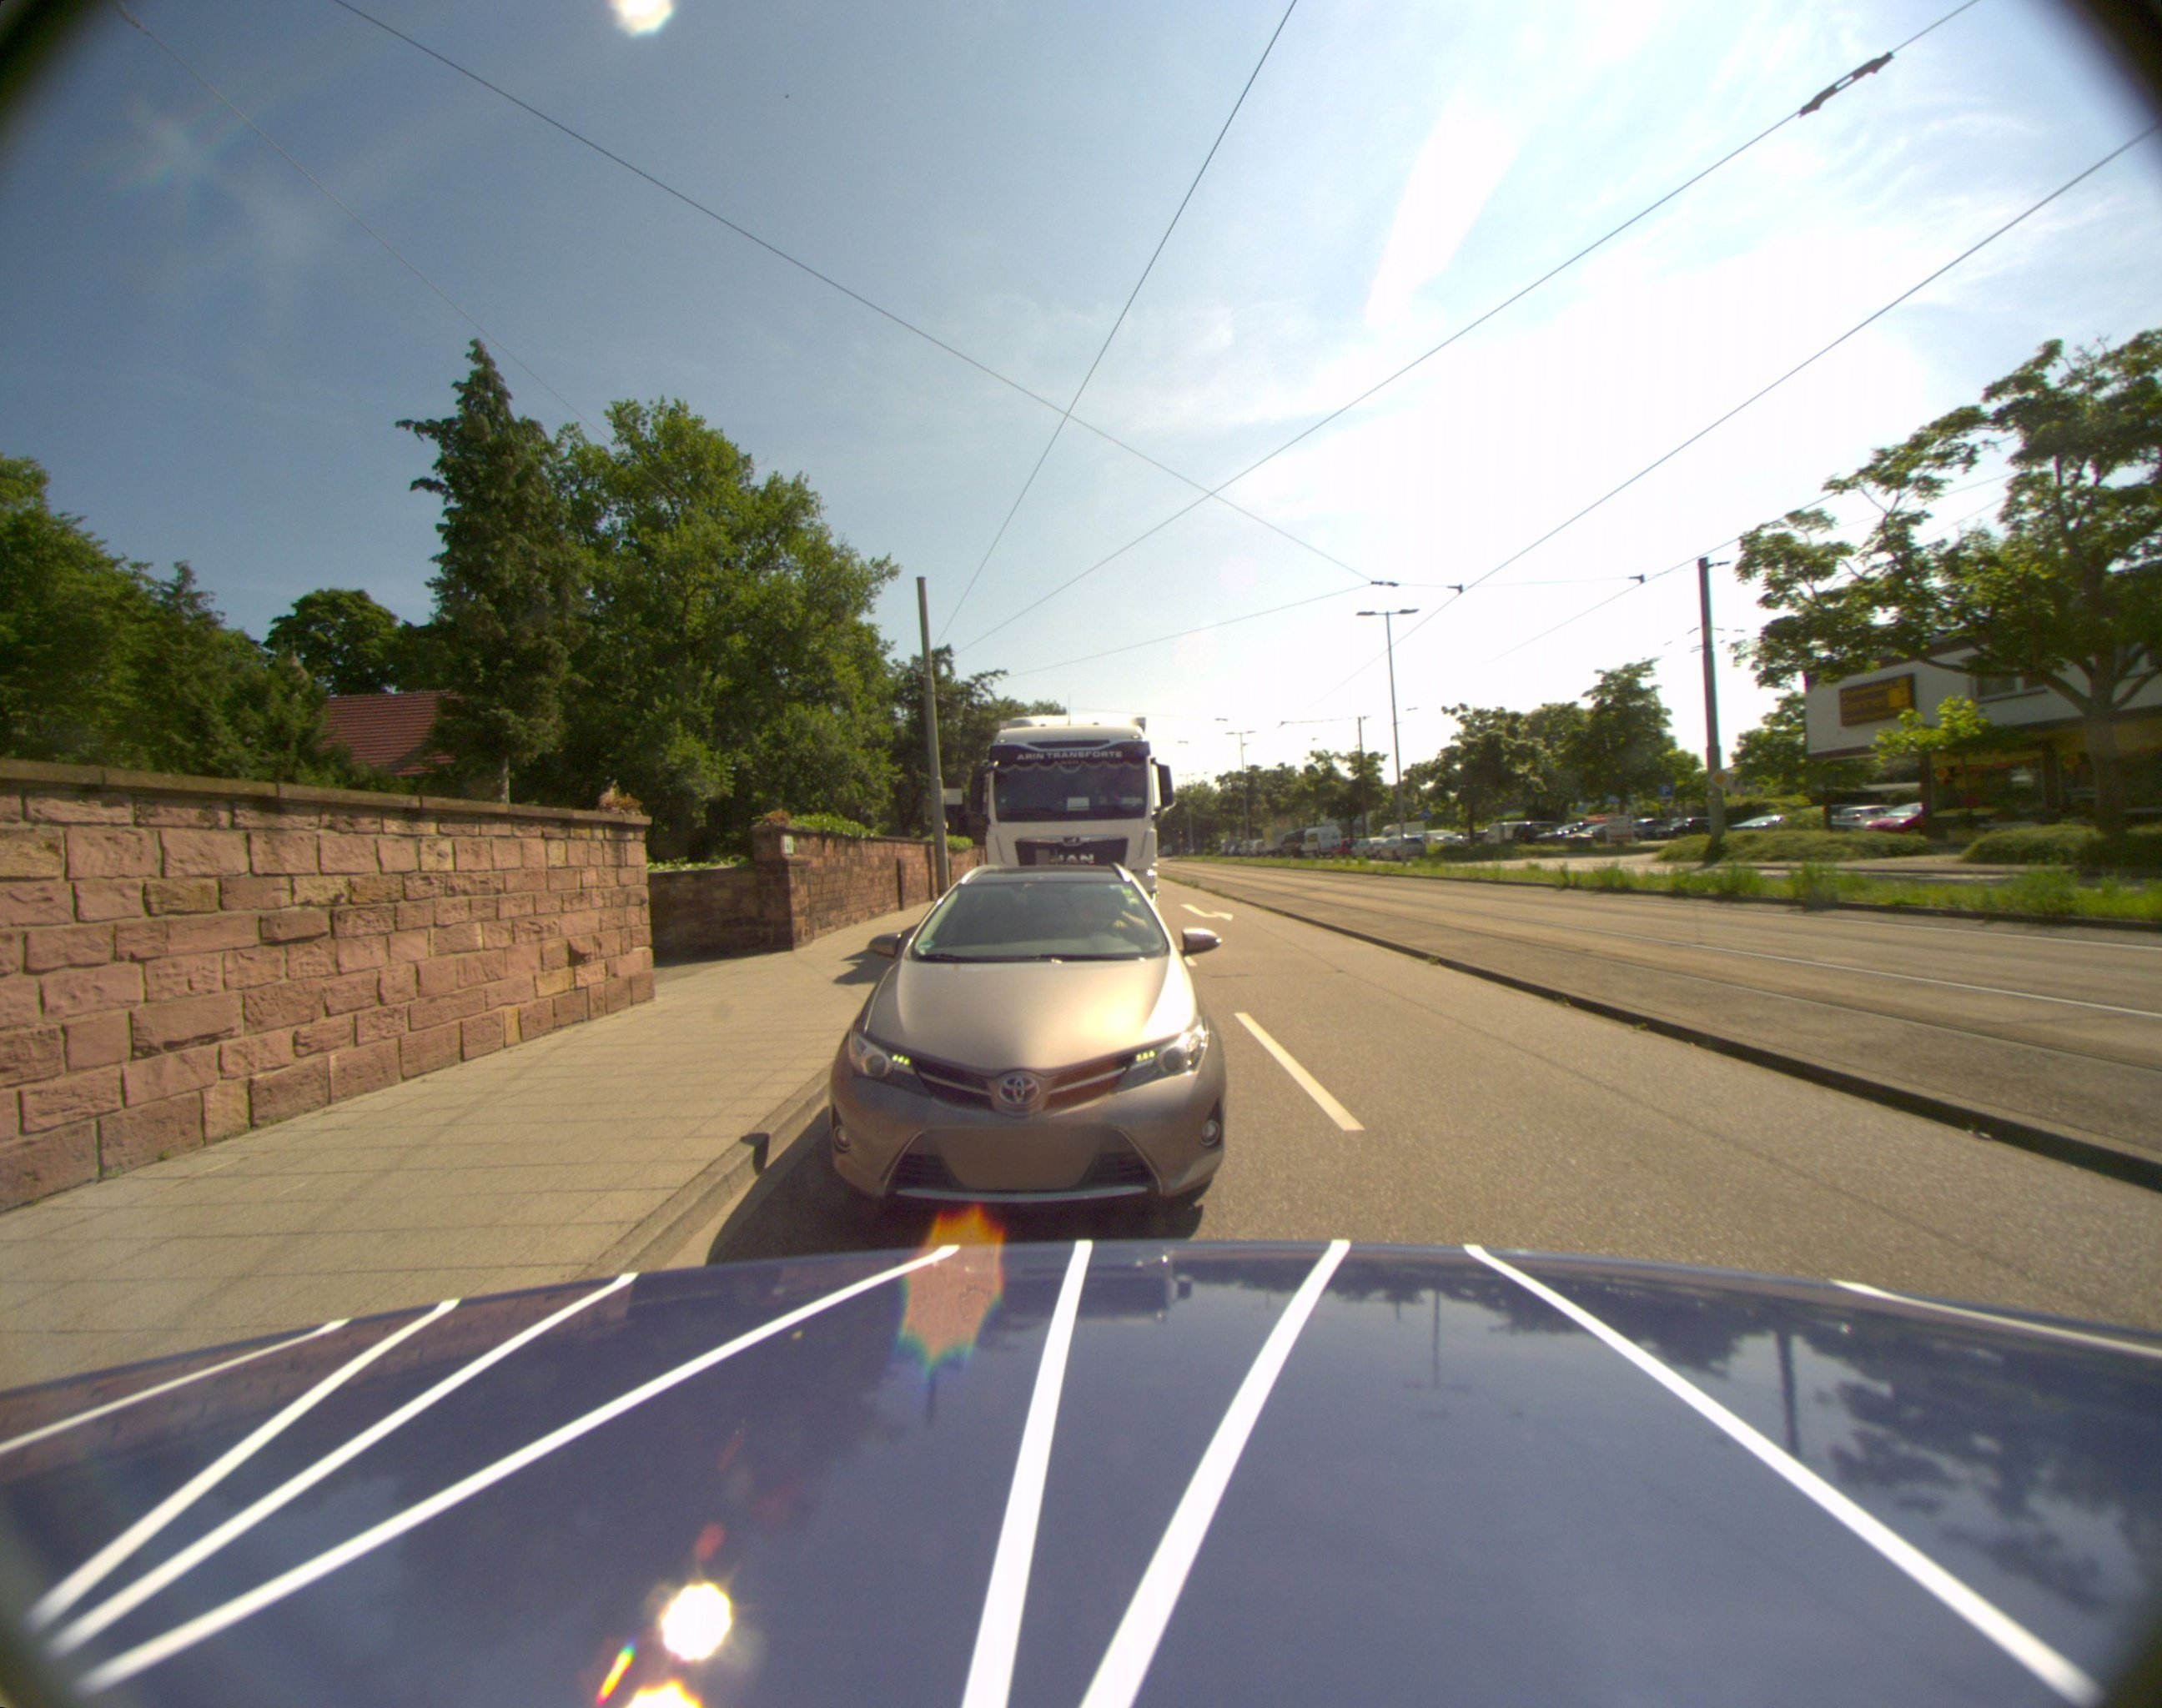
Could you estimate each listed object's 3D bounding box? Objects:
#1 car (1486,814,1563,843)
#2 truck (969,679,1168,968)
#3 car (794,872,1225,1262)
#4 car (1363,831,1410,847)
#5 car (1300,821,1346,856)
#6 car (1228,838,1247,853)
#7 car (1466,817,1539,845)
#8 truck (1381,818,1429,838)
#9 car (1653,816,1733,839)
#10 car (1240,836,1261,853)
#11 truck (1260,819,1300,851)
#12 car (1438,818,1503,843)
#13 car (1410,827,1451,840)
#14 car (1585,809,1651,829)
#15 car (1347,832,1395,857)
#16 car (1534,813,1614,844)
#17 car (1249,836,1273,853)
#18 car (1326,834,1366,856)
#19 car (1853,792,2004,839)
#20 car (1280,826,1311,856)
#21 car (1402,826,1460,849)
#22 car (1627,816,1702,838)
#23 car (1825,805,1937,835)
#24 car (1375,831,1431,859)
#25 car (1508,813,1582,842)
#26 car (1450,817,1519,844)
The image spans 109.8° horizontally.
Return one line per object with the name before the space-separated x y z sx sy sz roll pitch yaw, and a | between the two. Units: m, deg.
car | 30.692 -1.767 52.666 4.117 1.728 1.990 -3 1 -2
truck | -0.074 -0.468 15.099 2.628 3.906 9.285 -2 1 1
car | -0.261 0.891 4.993 1.654 1.374 4.000 -2 0 1
car | 32.314 -1.586 80.395 4.253 1.327 1.676 -3 0 1
car | 20.278 -1.249 63.987 2.062 2.638 5.203 -6 0 1
car | 20.620 -1.079 100.070 1.502 1.775 3.687 -6 0 0
car | 30.532 -1.679 55.137 4.117 1.728 1.990 -3 1 -2
truck | 44.838 -3.577 105.165 5.652 2.367 1.990 -3 1 -2
car | 44.064 -1.878 54.767 4.252 1.327 1.676 -3 0 2
car | 20.960 -1.178 94.217 1.502 1.835 4.059 -6 0 0
truck | 20.555 -1.887 78.761 2.508 2.917 5.903 -6 0 2
car | 31.229 -1.873 60.975 4.117 1.728 1.990 -3 1 -2
car | 43.734 -2.614 95.107 4.253 1.327 1.676 -3 0 1
car | 44.118 -2.875 62.480 4.254 1.327 1.676 -3 0 -1
car | 20.444 -0.623 53.655 1.675 1.524 4.256 -6 0 1
car | 30.514 -1.565 47.114 3.810 1.625 1.676 -3 1 2
car | 20.673 -1.044 87.359 1.502 1.793 4.633 -6 0 1
car | 20.471 -0.692 58.752 1.675 1.524 3.793 -6 0 1
car | 35.261 -1.580 31.680 4.252 1.595 1.676 -3 1 2
car | 19.822 -1.182 70.395 1.502 2.609 4.007 -6 0 1
car | 31.167 -1.395 67.878 2.594 1.800 5.741 -3 0 2
car | 44.188 -2.024 57.595 4.252 1.327 1.676 -3 0 2
car | 44.335 -1.888 42.169 4.252 1.327 1.676 -3 0 2
car | 20.339 -0.550 48.164 1.675 1.524 4.256 -6 0 1
car | 30.576 -1.712 50.146 3.810 1.625 1.676 -3 1 2
car | 30.586 -1.755 57.643 4.117 1.728 1.990 -3 1 -2
